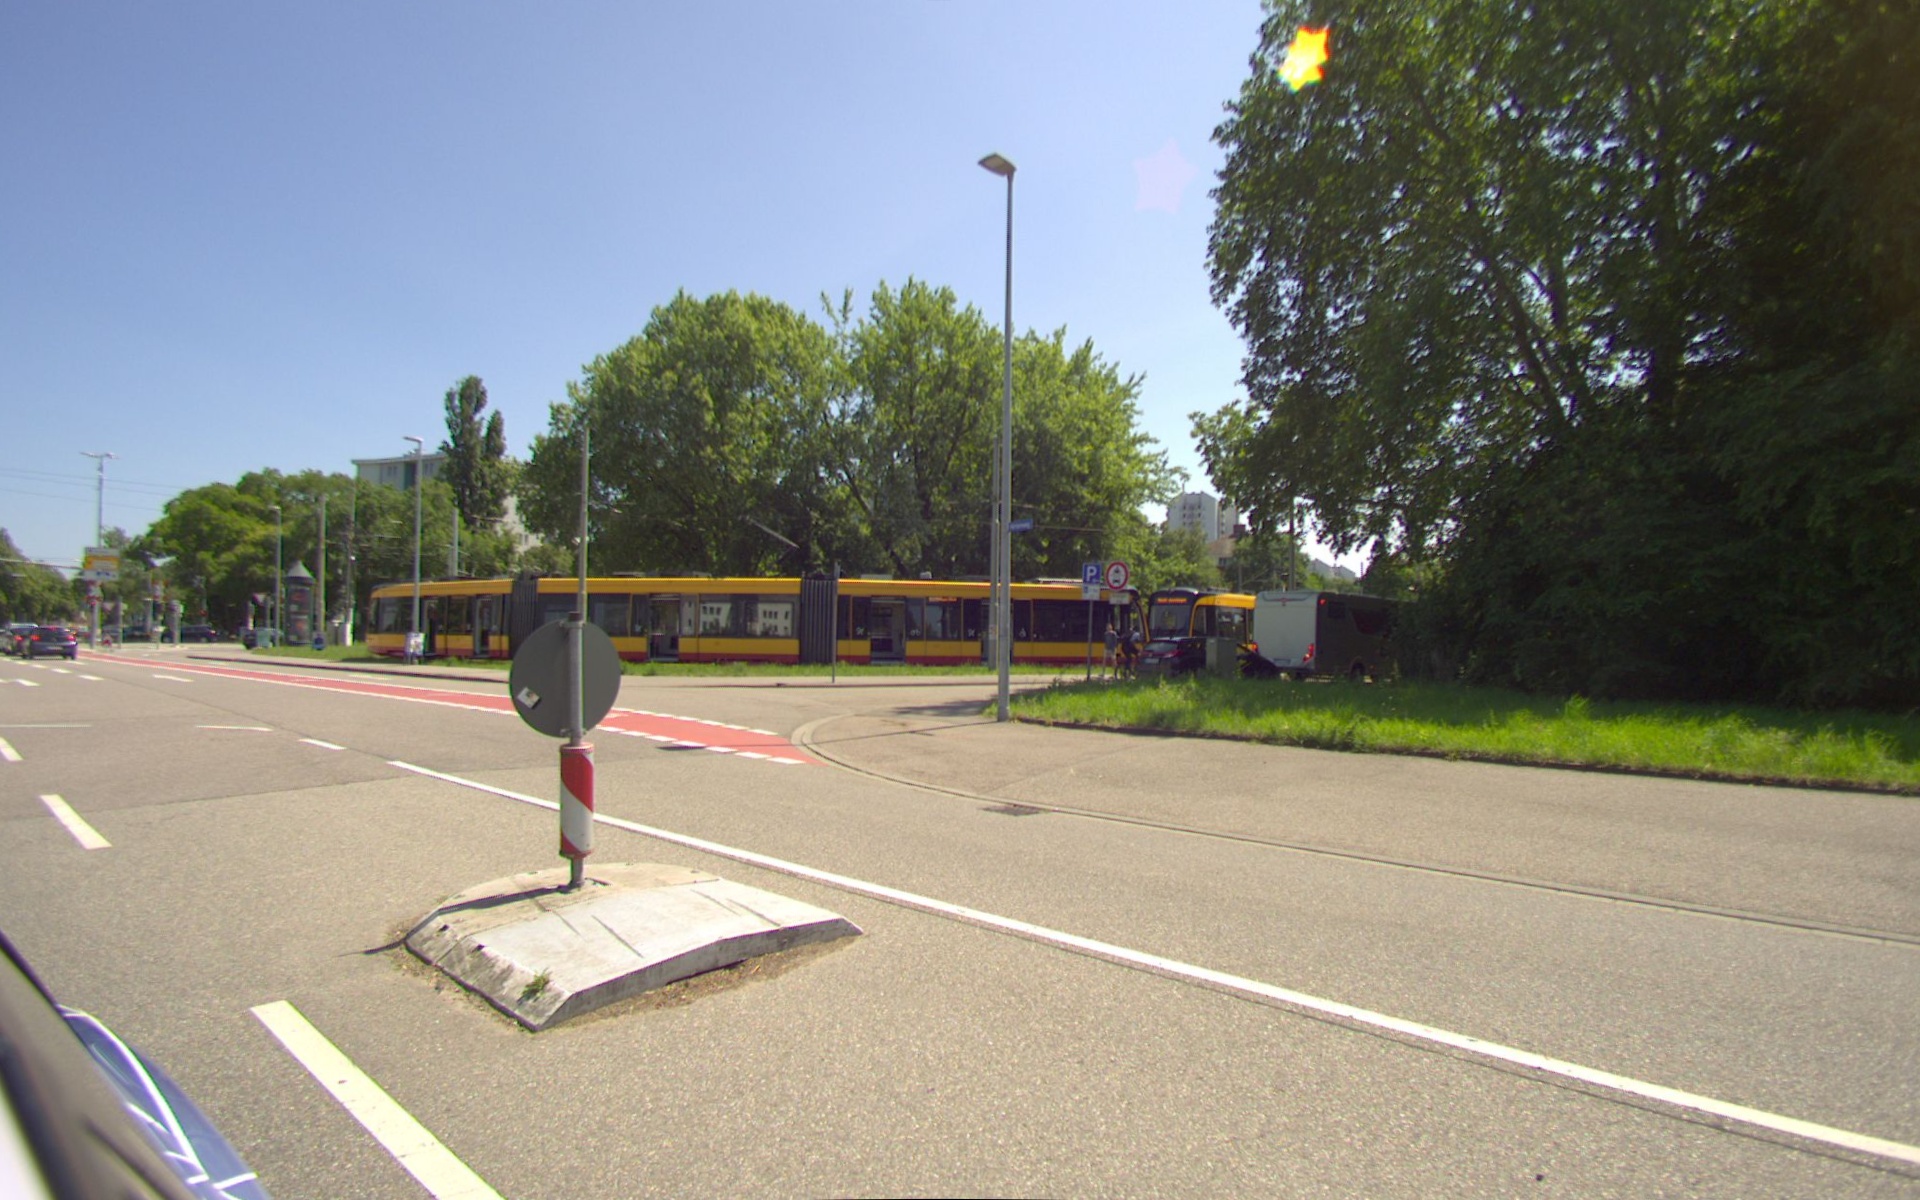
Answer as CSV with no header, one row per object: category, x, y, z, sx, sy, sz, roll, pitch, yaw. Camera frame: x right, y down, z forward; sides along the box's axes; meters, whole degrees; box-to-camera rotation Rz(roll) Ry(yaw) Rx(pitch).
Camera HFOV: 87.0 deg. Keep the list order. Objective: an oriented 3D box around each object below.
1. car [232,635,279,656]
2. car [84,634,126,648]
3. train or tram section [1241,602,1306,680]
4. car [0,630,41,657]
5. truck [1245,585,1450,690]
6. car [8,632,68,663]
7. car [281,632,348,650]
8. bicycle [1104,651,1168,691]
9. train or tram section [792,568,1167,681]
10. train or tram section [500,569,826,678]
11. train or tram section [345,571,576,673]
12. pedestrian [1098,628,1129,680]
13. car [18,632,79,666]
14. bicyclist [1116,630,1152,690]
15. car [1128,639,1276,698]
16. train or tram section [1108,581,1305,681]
car,-49.733,3.206,71.521,1.719,1.416,4.455,3,-3,-21
car,-92.007,4.396,108.927,3.439,1.439,1.586,1,-5,-43
train or tram section,17.677,2.447,56.470,3.002,3.788,14.103,0,-4,19
car,-53.255,2.435,57.054,4.413,1.467,1.771,-2,-4,43
truck,12.172,1.208,31.456,7.223,2.932,2.573,3,-3,-38
car,-46.174,2.355,50.675,4.284,1.468,1.741,-2,-3,42
car,-53.801,3.421,84.466,4.336,1.399,1.880,1,-3,-17
bicycle,5.181,2.065,29.725,2.013,1.063,0.672,0,-2,-40
train or tram section,0.819,1.065,38.204,13.810,3.788,3.034,2,-4,-15
train or tram section,-10.997,0.901,37.724,11.491,3.788,3.016,0,-4,11
train or tram section,-21.250,1.051,42.464,12.968,3.788,2.989,-2,-4,36
pedestrian,5.195,1.834,34.248,0.850,1.723,0.803,-2,-3,24
car,-40.268,2.152,44.676,3.501,1.467,1.604,-2,-4,43
bicyclist,5.108,1.747,29.682,0.757,1.719,0.668,1,-2,-39
car,6.617,1.825,27.504,4.244,1.428,1.670,3,-2,-39
train or tram section,11.347,1.619,44.782,3.021,3.788,14.012,-2,-5,38
